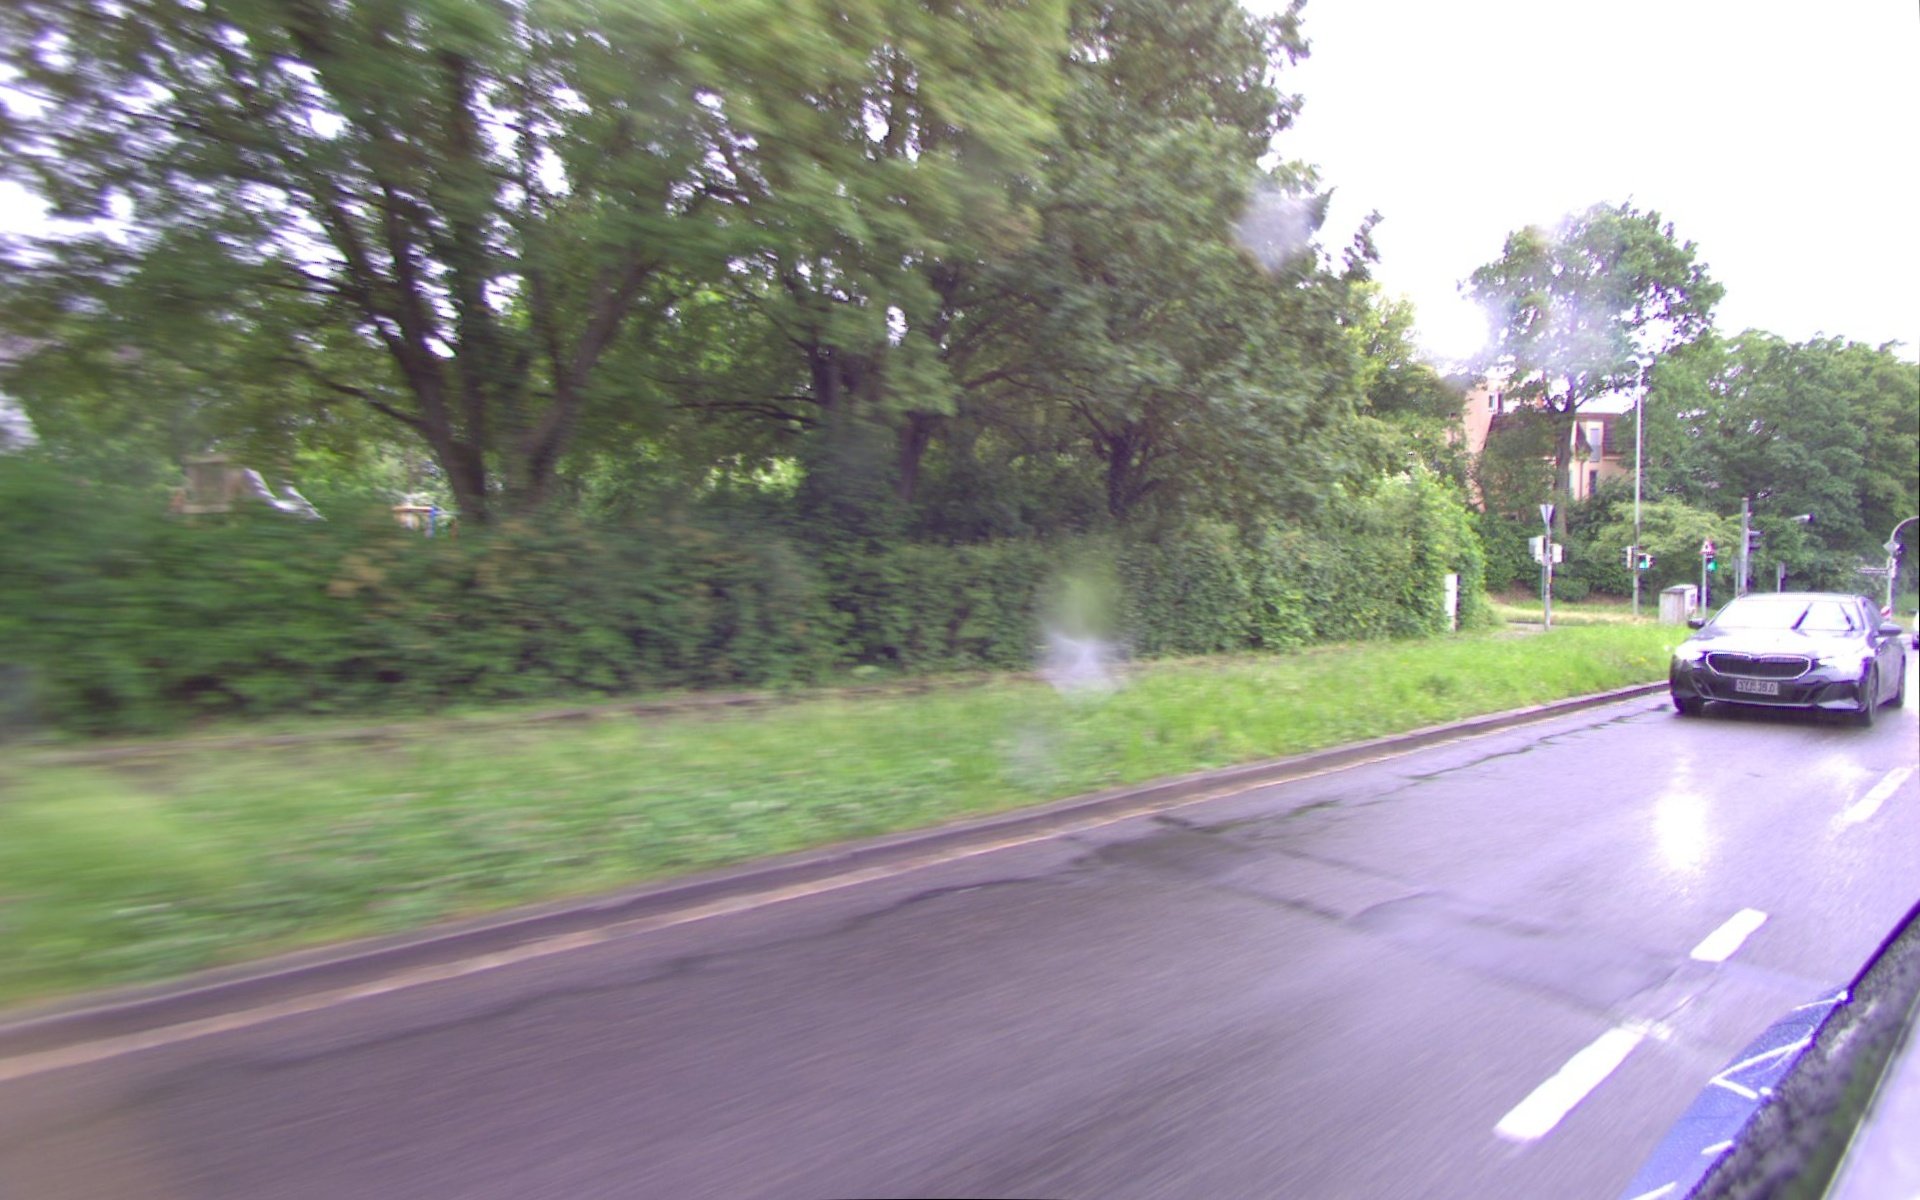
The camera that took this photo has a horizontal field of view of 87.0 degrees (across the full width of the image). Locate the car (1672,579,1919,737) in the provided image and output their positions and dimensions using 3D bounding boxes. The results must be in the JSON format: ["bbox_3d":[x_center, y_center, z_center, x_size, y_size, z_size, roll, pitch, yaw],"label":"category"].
[{"bbox_3d":[10.647,0.569,12.646,4.047,1.574,1.867,-1,4,-40],"label":"car"}]
